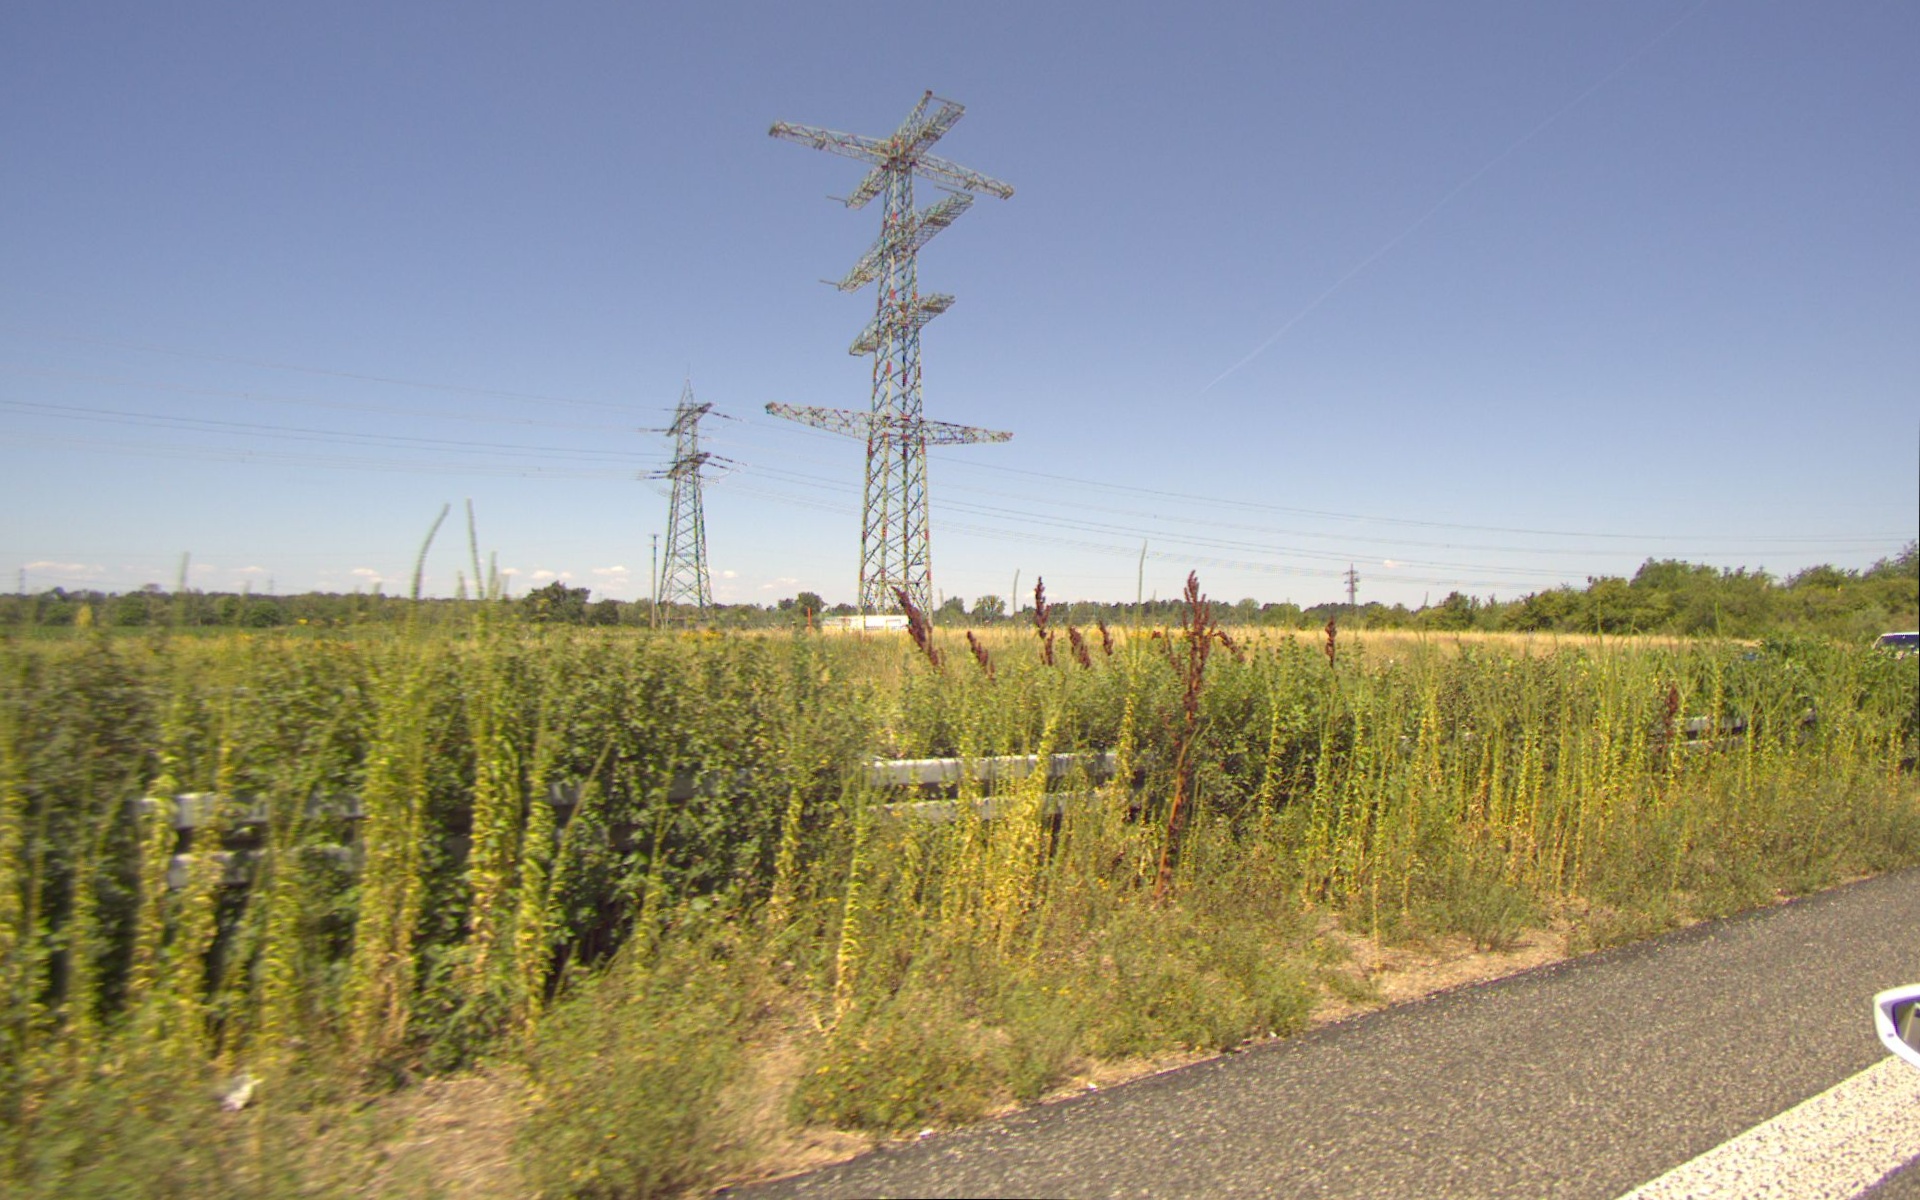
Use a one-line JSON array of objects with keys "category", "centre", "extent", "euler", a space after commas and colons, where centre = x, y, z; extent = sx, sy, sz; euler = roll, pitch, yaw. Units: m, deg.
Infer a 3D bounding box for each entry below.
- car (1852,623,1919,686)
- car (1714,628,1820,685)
[{"category": "car", "centre": [33.118, 1.854, 34.545], "extent": [5.771, 2.013, 1.987], "euler": [1, -1, -31]}, {"category": "car", "centre": [30.594, 2.101, 38.051], "extent": [3.940, 2.004, 1.887], "euler": [1, -1, -31]}]
